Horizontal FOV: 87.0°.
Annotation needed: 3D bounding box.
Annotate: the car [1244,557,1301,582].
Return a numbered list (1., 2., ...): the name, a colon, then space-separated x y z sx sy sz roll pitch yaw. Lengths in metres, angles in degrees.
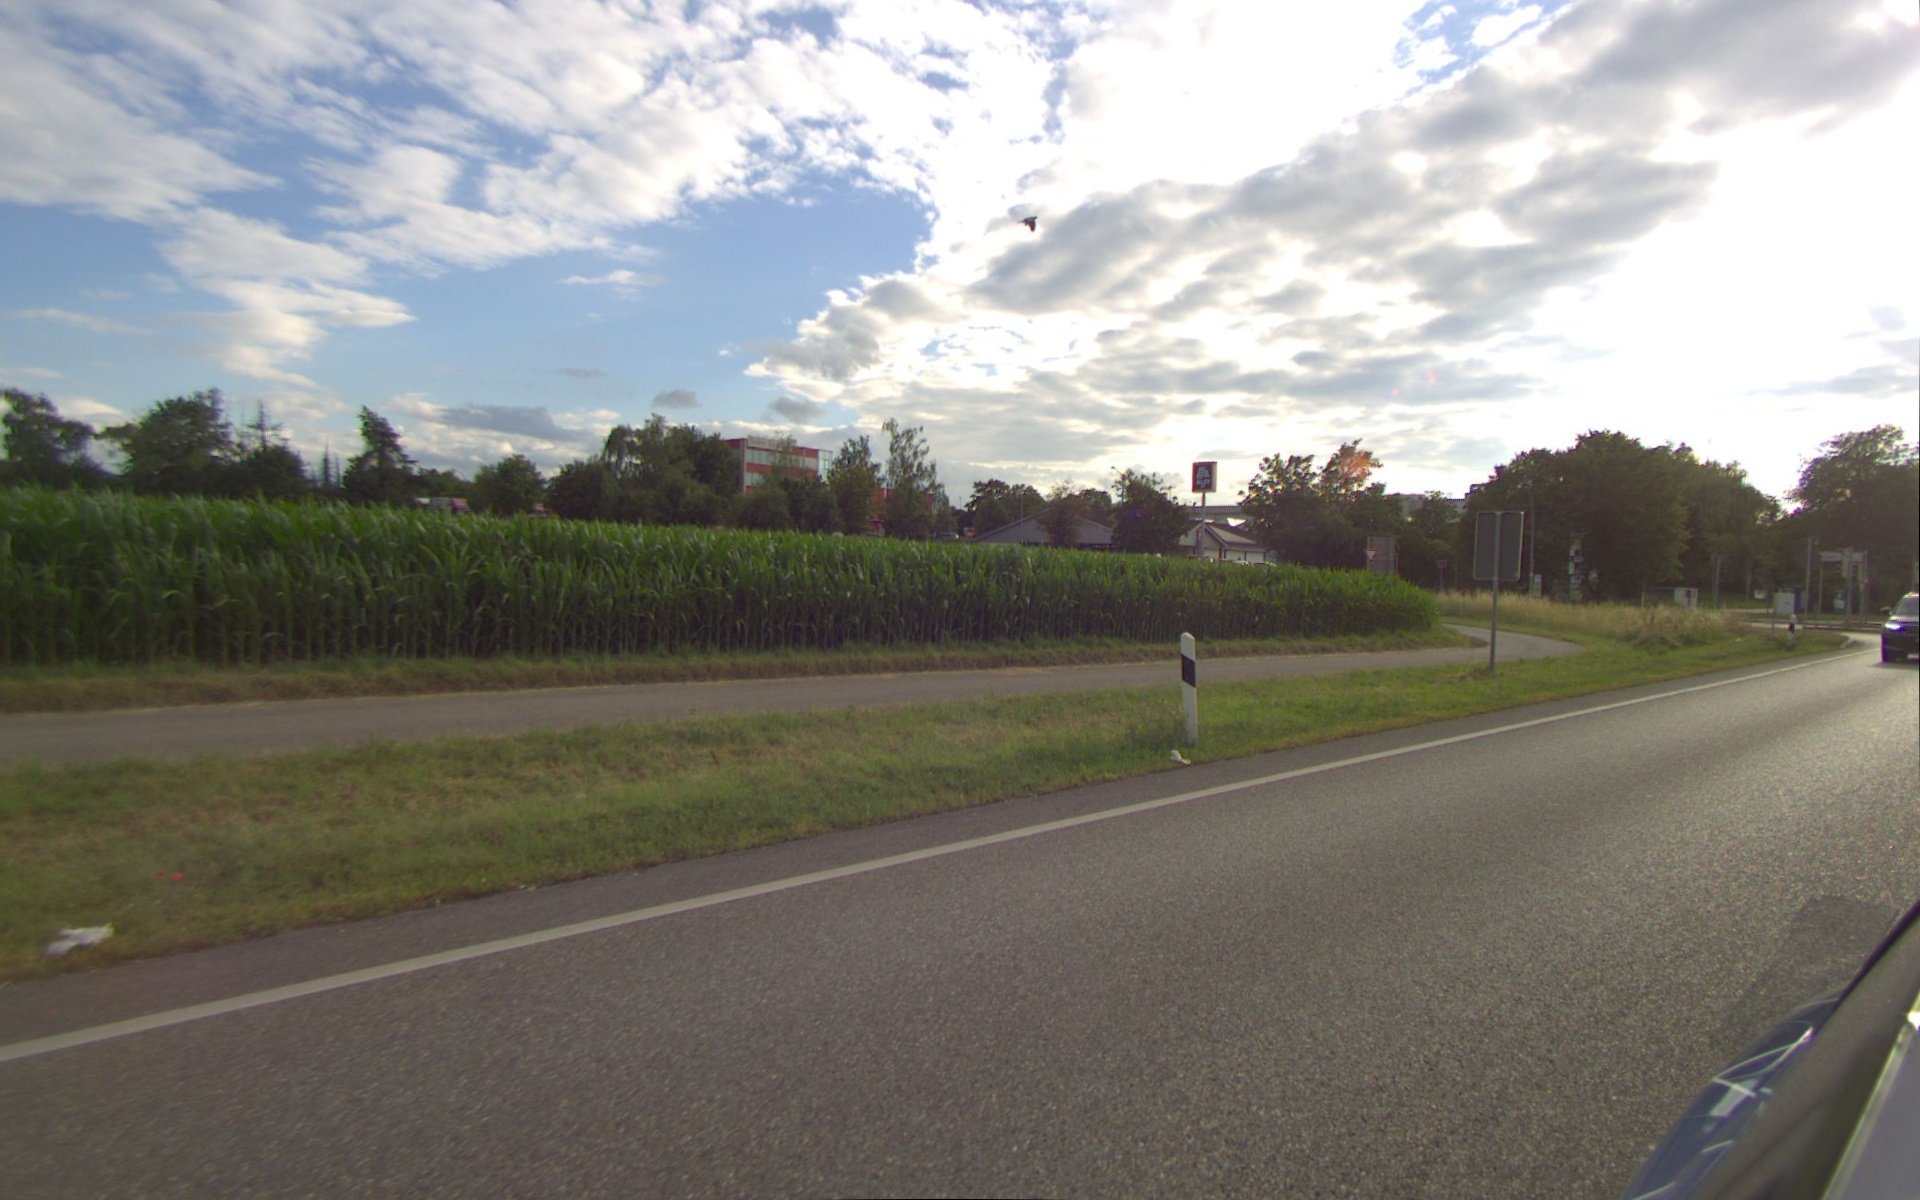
1. car: 27.447 -2.717 88.985 1.928 1.906 4.299 0 5 -43

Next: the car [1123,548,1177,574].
1. car: 16.321 -3.335 86.794 1.993 2.038 5.531 5 4 41

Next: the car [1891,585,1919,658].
1. car: 24.028 0.499 24.451 4.404 1.670 1.847 0 0 -42

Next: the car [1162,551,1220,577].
1. car: 19.317 -3.006 84.806 1.928 1.906 4.299 0 5 -43

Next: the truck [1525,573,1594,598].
1. truck: 50.377 -1.212 85.166 4.601 2.022 1.816 1 1 14

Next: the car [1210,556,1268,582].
1. car: 23.518 -2.655 85.455 1.928 1.906 4.299 0 5 -43
